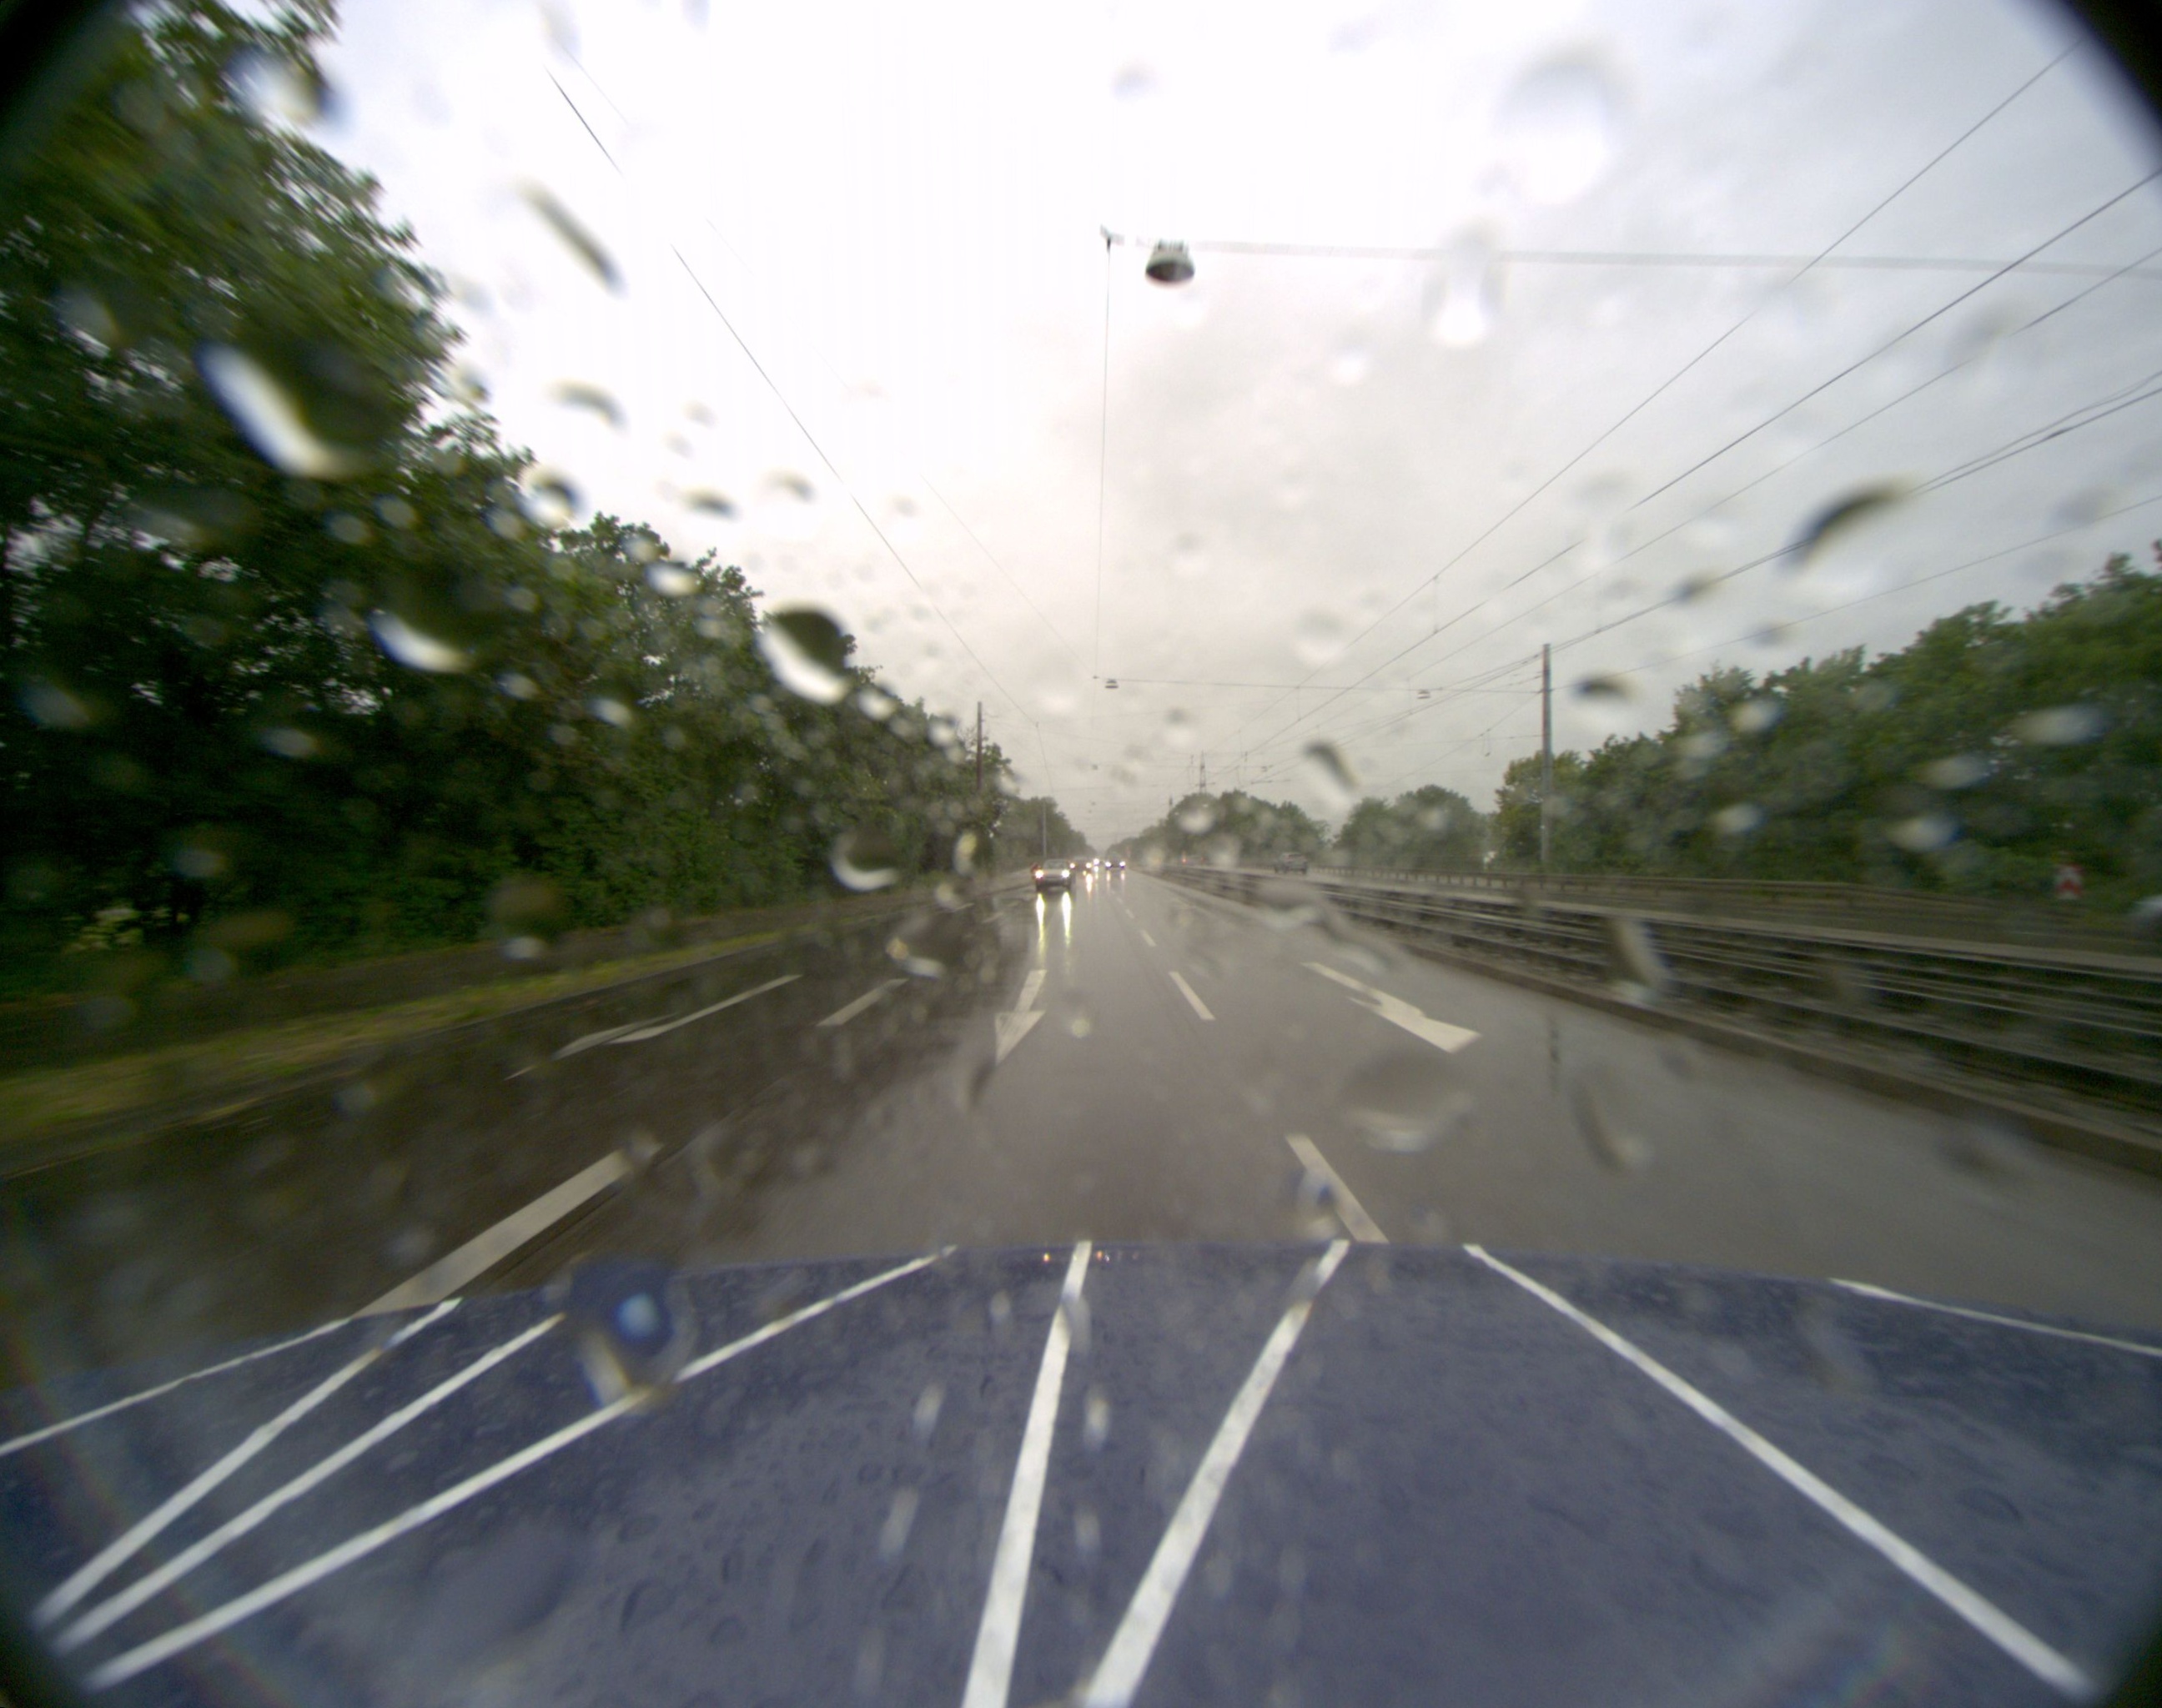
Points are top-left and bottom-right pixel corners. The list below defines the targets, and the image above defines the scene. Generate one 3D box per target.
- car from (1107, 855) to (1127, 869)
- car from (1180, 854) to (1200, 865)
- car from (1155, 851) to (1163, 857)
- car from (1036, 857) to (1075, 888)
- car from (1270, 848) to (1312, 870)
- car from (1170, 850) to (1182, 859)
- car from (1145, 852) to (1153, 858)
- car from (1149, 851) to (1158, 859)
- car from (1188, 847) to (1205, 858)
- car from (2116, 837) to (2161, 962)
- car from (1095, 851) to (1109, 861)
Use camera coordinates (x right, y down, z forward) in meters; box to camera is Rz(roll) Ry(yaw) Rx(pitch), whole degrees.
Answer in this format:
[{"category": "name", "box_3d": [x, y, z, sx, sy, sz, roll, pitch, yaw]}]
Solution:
[{"category": "car", "box_3d": [3.690, 0.788, 78.443, 1.971, 1.412, 3.999, 0, 1, 0]}, {"category": "car", "box_3d": [15.078, 0.723, 104.878, 1.999, 1.380, 4.852, -1, 0, -1]}, {"category": "car", "box_3d": [22.994, -0.045, 223.287, 1.837, 1.701, 4.661, 4, 0, 0]}, {"category": "car", "box_3d": [-1.217, 0.878, 38.015, 1.751, 1.412, 3.999, 0, 1, 1]}, {"category": "car", "box_3d": [16.886, 0.384, 61.244, 1.999, 1.663, 4.872, -1, 0, -1]}, {"category": "car", "box_3d": [18.618, 0.130, 149.674, 1.851, 1.585, 3.999, -1, 1, 1]}, {"category": "car", "box_3d": [18.639, 0.144, 207.785, 1.998, 1.608, 3.999, 0, 1, 0]}, {"category": "car", "box_3d": [17.117, 0.264, 179.572, 1.853, 1.821, 4.393, -4, 1, 1]}, {"category": "car", "box_3d": [17.159, -0.239, 113.339, 1.845, 1.565, 4.385, -1, 1, 1]}, {"category": "car", "box_3d": [16.615, 0.594, 9.419, 1.999, 1.772, 4.000, -5, 0, 0]}, {"category": "car", "box_3d": [3.019, 0.224, 111.333, 1.971, 1.412, 3.999, 0, 1, 0]}]
